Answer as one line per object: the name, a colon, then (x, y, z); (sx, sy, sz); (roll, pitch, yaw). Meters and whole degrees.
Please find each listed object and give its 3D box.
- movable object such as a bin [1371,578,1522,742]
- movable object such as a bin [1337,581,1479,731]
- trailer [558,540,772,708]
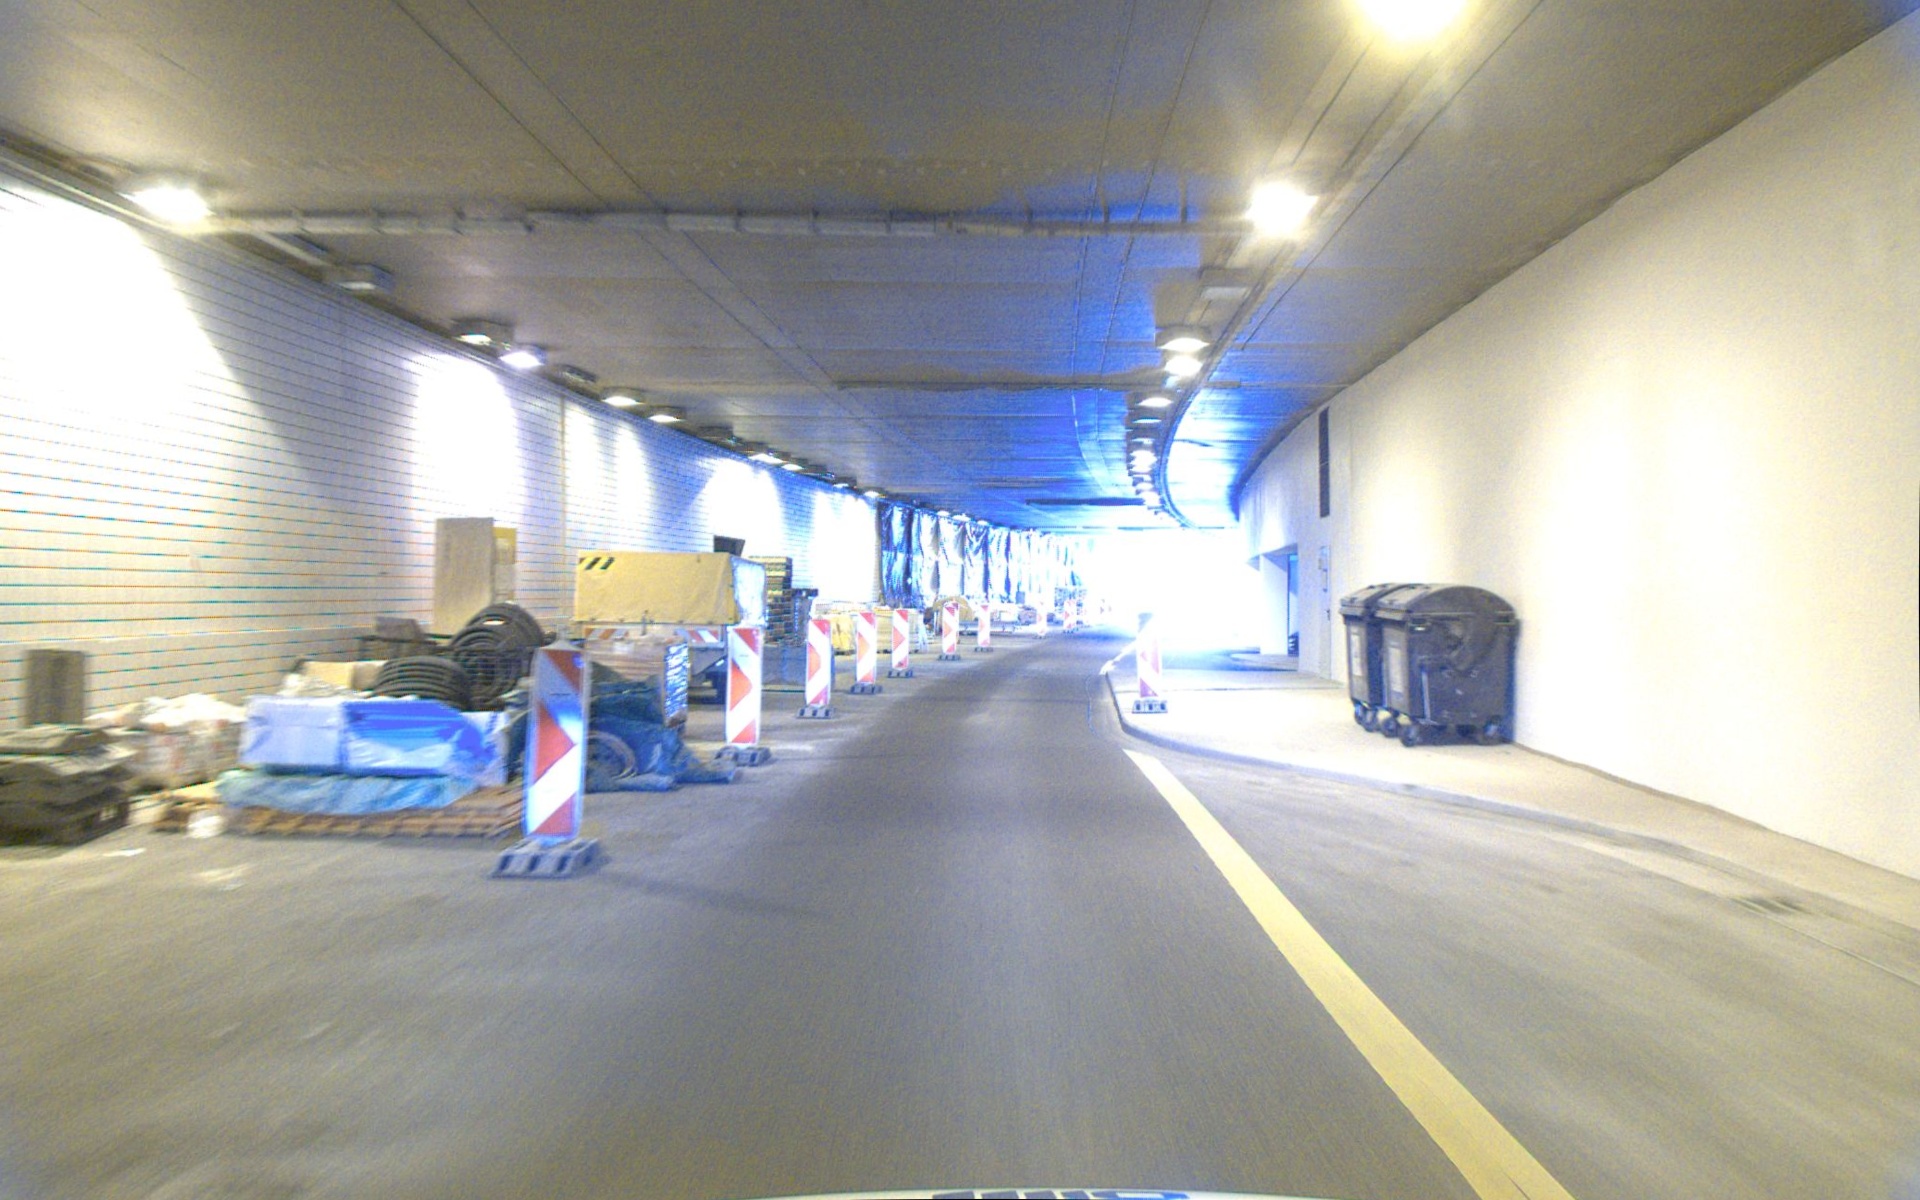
movable object such as a bin: (4.570, 0.547, 15.637); (1.075, 1.470, 1.322); (0, 0, 2)
movable object such as a bin: (4.582, 0.554, 17.025); (1.122, 1.470, 1.364); (0, 0, 2)
trailer: (-3.826, 0.305, 22.067); (2.163, 2.049, 3.466); (0, 0, 1)
